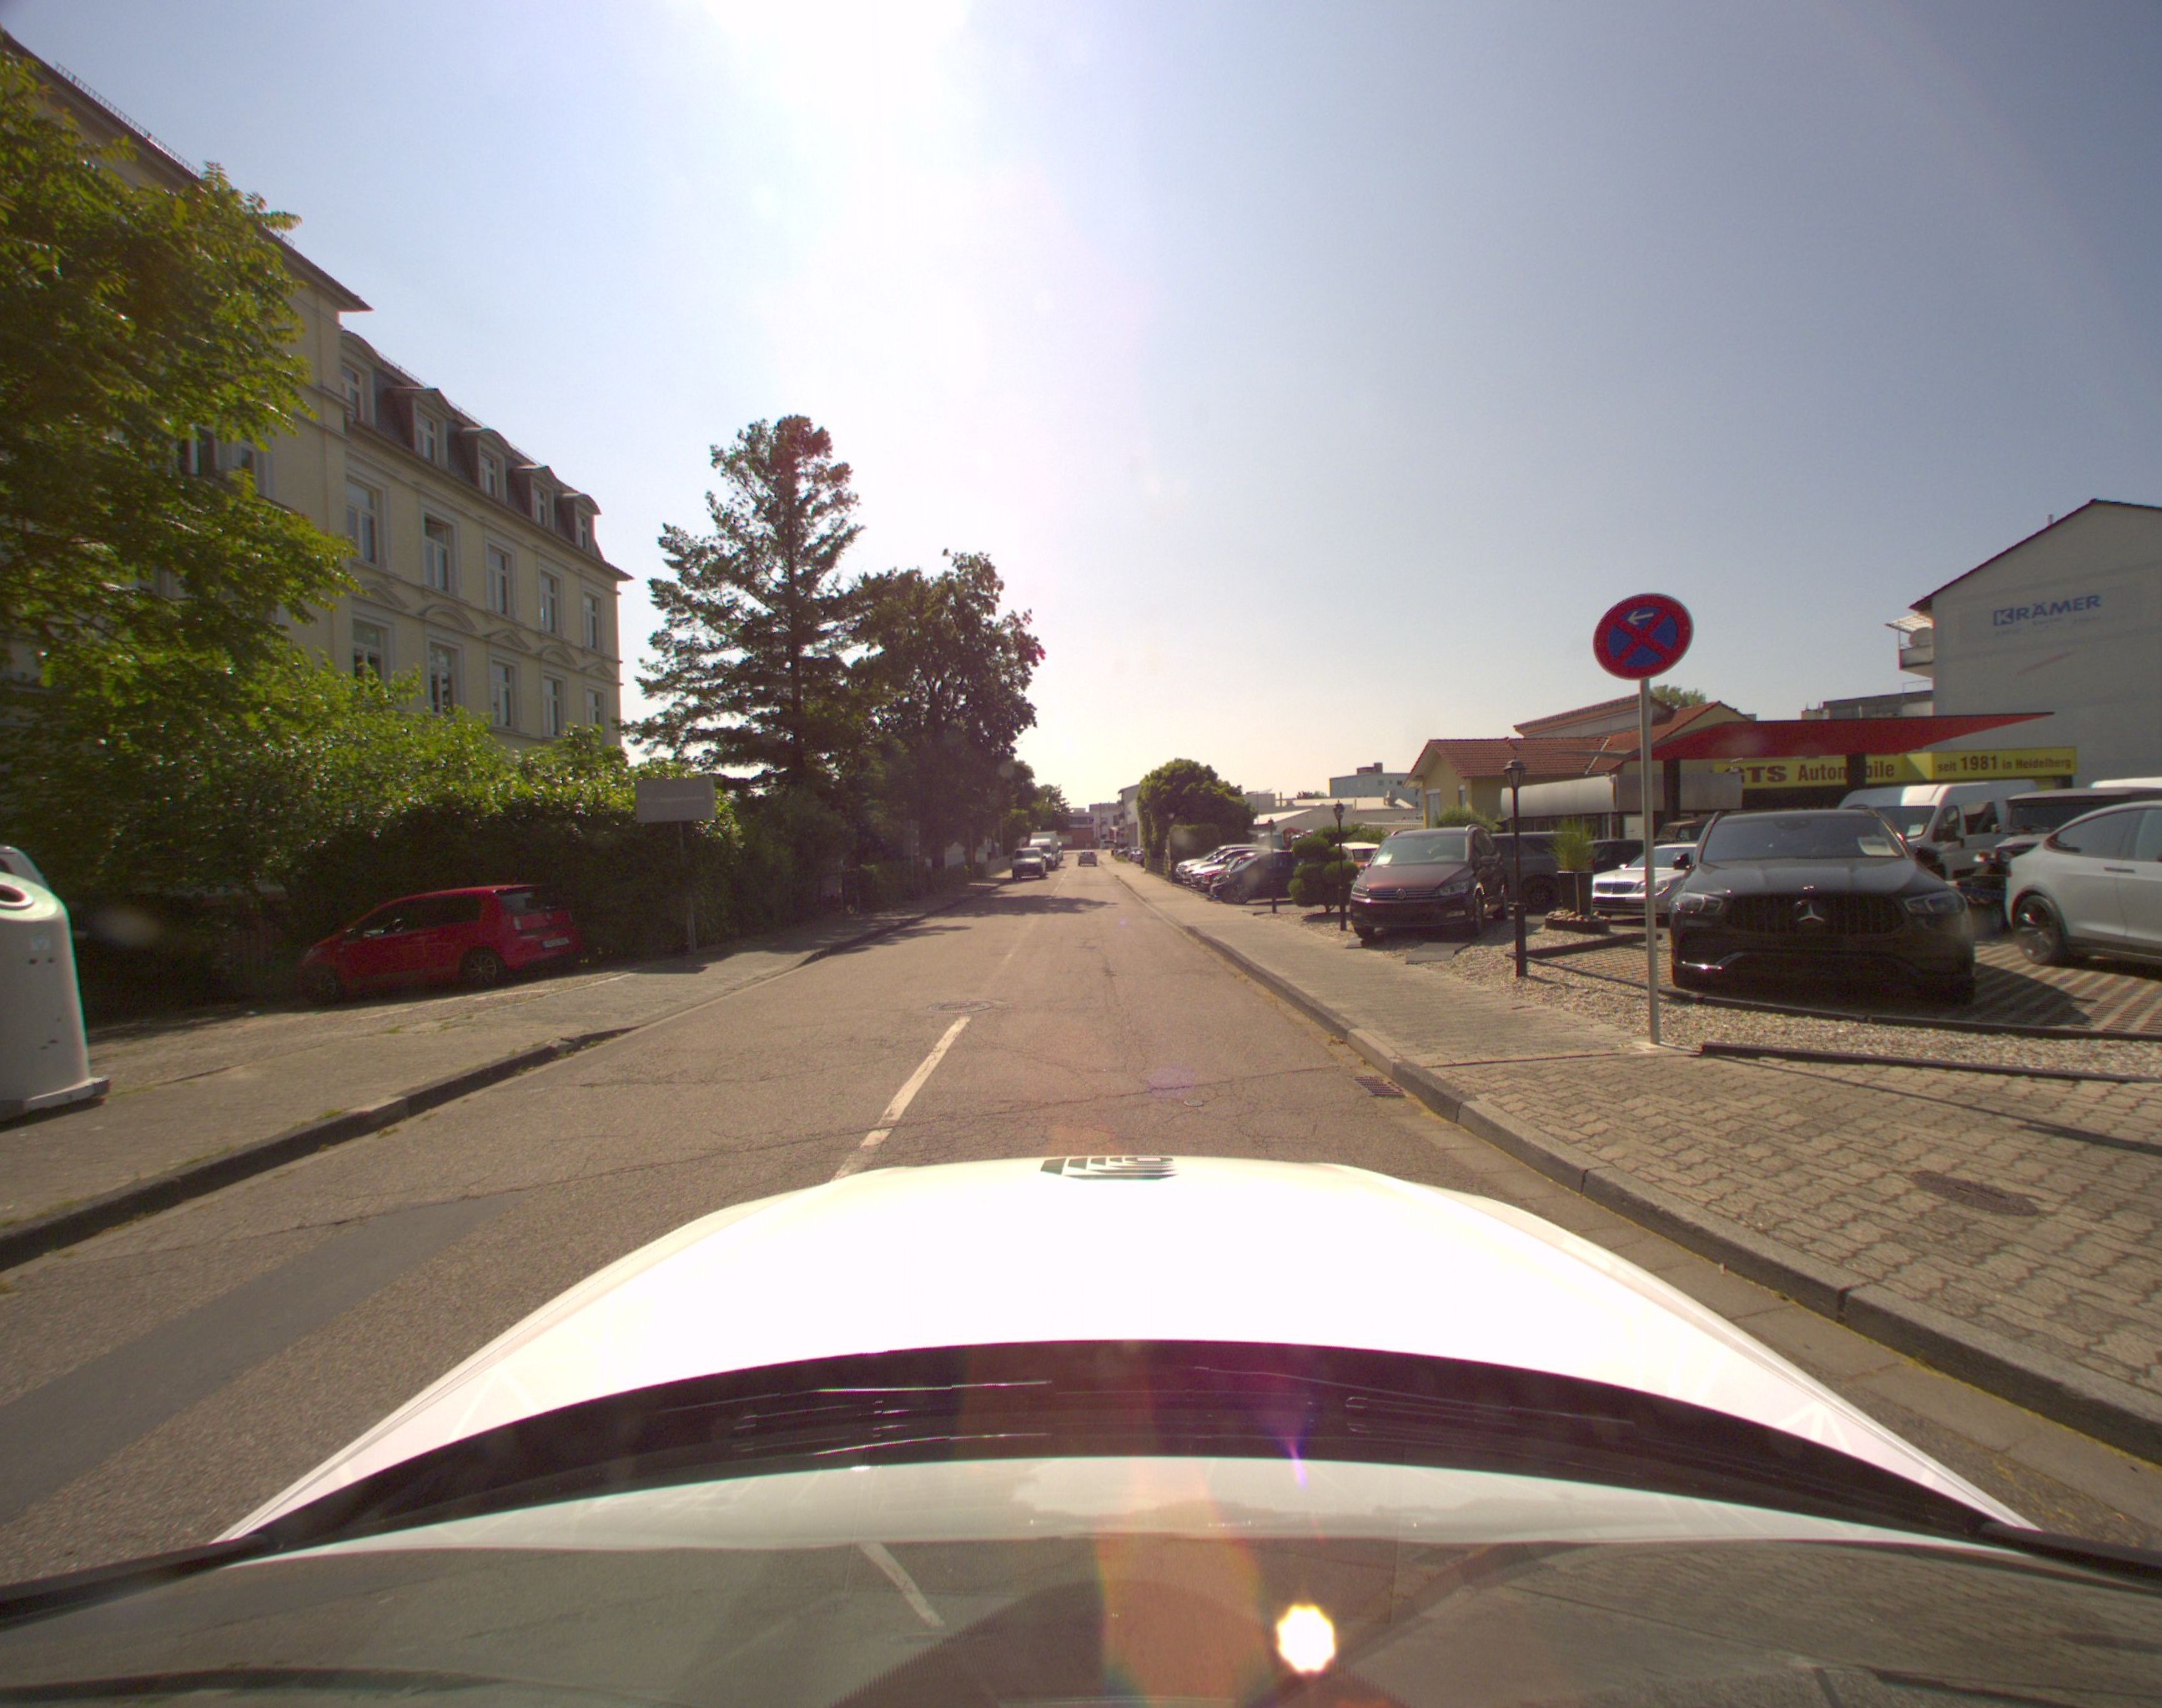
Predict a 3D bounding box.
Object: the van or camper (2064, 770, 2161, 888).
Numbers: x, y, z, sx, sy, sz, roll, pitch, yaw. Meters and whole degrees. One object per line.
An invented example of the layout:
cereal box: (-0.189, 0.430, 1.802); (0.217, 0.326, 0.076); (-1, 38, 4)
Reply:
van or camper: (24.359, -0.573, 18.189); (4.945, 2.436, 1.983); (-2, 0, -27)

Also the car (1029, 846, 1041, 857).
car: (-7.270, -0.427, 128.573); (1.809, 1.530, 3.673); (-3, 1, -1)

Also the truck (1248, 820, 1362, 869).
truck: (17.691, -0.735, 64.604); (8.242, 3.611, 2.955); (-1, 0, 2)

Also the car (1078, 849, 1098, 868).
car: (0.653, 0.428, 78.435); (1.884, 1.685, 3.957); (-1, 0, 0)

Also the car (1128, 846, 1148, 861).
car: (6.326, -0.077, 90.685); (1.853, 1.567, 4.950); (-2, 1, -1)

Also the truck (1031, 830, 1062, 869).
truck: (-3.284, -0.422, 77.341); (2.679, 3.366, 7.122); (-2, 0, -3)

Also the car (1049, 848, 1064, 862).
car: (-3.062, 0.090, 101.172); (1.702, 1.624, 3.967); (-3, 1, -5)

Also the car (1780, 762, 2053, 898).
car: (19.114, -0.580, 18.605); (6.026, 2.678, 2.242); (-3, 0, -23)

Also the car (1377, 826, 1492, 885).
car: (13.546, 0.047, 31.569); (1.990, 2.013, 4.899); (-2, 0, -4)

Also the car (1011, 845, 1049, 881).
car: (-3.160, 0.530, 51.402); (1.965, 2.013, 5.056); (-3, 0, 0)

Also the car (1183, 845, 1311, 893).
car: (6.303, 0.561, 31.239); (4.397, 1.497, 1.893); (-3, 0, -6)

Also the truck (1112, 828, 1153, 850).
truck: (10.096, -2.952, 159.382); (7.350, 3.645, 2.762); (-5, 1, -6)

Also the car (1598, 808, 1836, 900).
car: (16.591, 0.008, 21.549); (4.526, 2.150, 1.934); (-3, 1, 17)

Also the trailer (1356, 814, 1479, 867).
trailer: (26.315, -1.055, 64.026); (8.294, 3.863, 3.072); (-2, 0, 5)

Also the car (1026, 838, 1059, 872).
car: (-3.123, 0.085, 67.448); (2.160, 2.596, 6.922); (-3, 0, 1)

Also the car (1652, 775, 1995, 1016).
car: (7.279, 0.295, 8.577); (1.991, 1.779, 4.849); (-2, 0, 35)

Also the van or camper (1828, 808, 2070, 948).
van or camper: (12.738, 0.262, 11.880); (4.314, 1.684, 1.977); (-1, 0, -38)

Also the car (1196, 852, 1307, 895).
car: (5.981, 0.675, 28.751); (3.540, 1.335, 1.557); (-2, 0, -2)

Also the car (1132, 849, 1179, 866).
car: (7.072, 0.294, 77.623); (4.340, 1.441, 1.891); (-2, 0, -1)

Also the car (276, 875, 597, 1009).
car: (-9.526, 1.259, 12.217); (3.399, 1.466, 1.652); (-6, 0, 2)

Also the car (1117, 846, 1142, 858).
car: (6.393, -0.285, 108.173); (3.242, 1.398, 1.673); (-2, 1, 0)

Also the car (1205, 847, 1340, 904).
car: (5.979, 0.648, 25.737); (3.792, 1.624, 1.758); (-2, 0, -2)

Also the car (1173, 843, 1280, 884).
car: (6.437, 0.393, 36.356); (4.392, 1.653, 1.842); (-2, 0, -3)

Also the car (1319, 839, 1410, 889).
car: (10.720, 0.350, 31.084); (1.988, 1.728, 3.999); (-2, 0, -1)

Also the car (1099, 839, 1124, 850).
car: (6.270, -1.942, 167.669); (4.669, 1.957, 1.904); (-2, 1, -19)

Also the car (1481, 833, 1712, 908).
car: (12.650, 0.443, 20.377); (4.523, 1.636, 1.935); (-3, -2, 21)

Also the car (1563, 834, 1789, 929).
car: (11.258, 0.446, 15.360); (4.220, 1.534, 1.906); (-1, 0, -30)

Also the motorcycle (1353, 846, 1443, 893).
motorcycle: (10.677, 0.505, 27.470); (2.683, 1.433, 1.007); (-2, 0, -11)

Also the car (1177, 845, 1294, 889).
car: (6.379, 0.538, 33.918); (4.397, 1.527, 1.893); (-3, 0, -6)

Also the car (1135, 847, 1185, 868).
car: (6.917, 0.310, 71.499); (4.188, 1.682, 1.766); (2, 0, -1)

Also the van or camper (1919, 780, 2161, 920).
van or camper: (18.392, -0.102, 15.135); (5.512, 2.261, 2.096); (-1, 0, -23)

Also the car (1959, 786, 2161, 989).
car: (10.216, 0.249, 7.007); (1.992, 1.692, 4.846); (-2, 0, 26)

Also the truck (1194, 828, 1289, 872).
truck: (13.505, -0.366, 68.841); (7.494, 3.423, 2.527); (2, 0, 0)

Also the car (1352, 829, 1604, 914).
car: (8.983, 0.408, 18.769); (4.935, 1.762, 1.937); (-2, 0, 25)

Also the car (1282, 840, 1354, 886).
car: (10.182, 0.396, 35.246); (1.987, 1.860, 3.787); (0, -1, -1)

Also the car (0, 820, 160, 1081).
car: (-9.264, 0.735, 4.581); (1.982, 1.931, 5.112); (-4, -2, 8)

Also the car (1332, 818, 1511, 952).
car: (5.656, 0.413, 13.184); (1.829, 1.782, 4.318); (-2, -1, 34)

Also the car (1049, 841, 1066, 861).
car: (-3.086, -0.388, 106.344); (2.000, 2.366, 5.226); (-4, 1, -2)
